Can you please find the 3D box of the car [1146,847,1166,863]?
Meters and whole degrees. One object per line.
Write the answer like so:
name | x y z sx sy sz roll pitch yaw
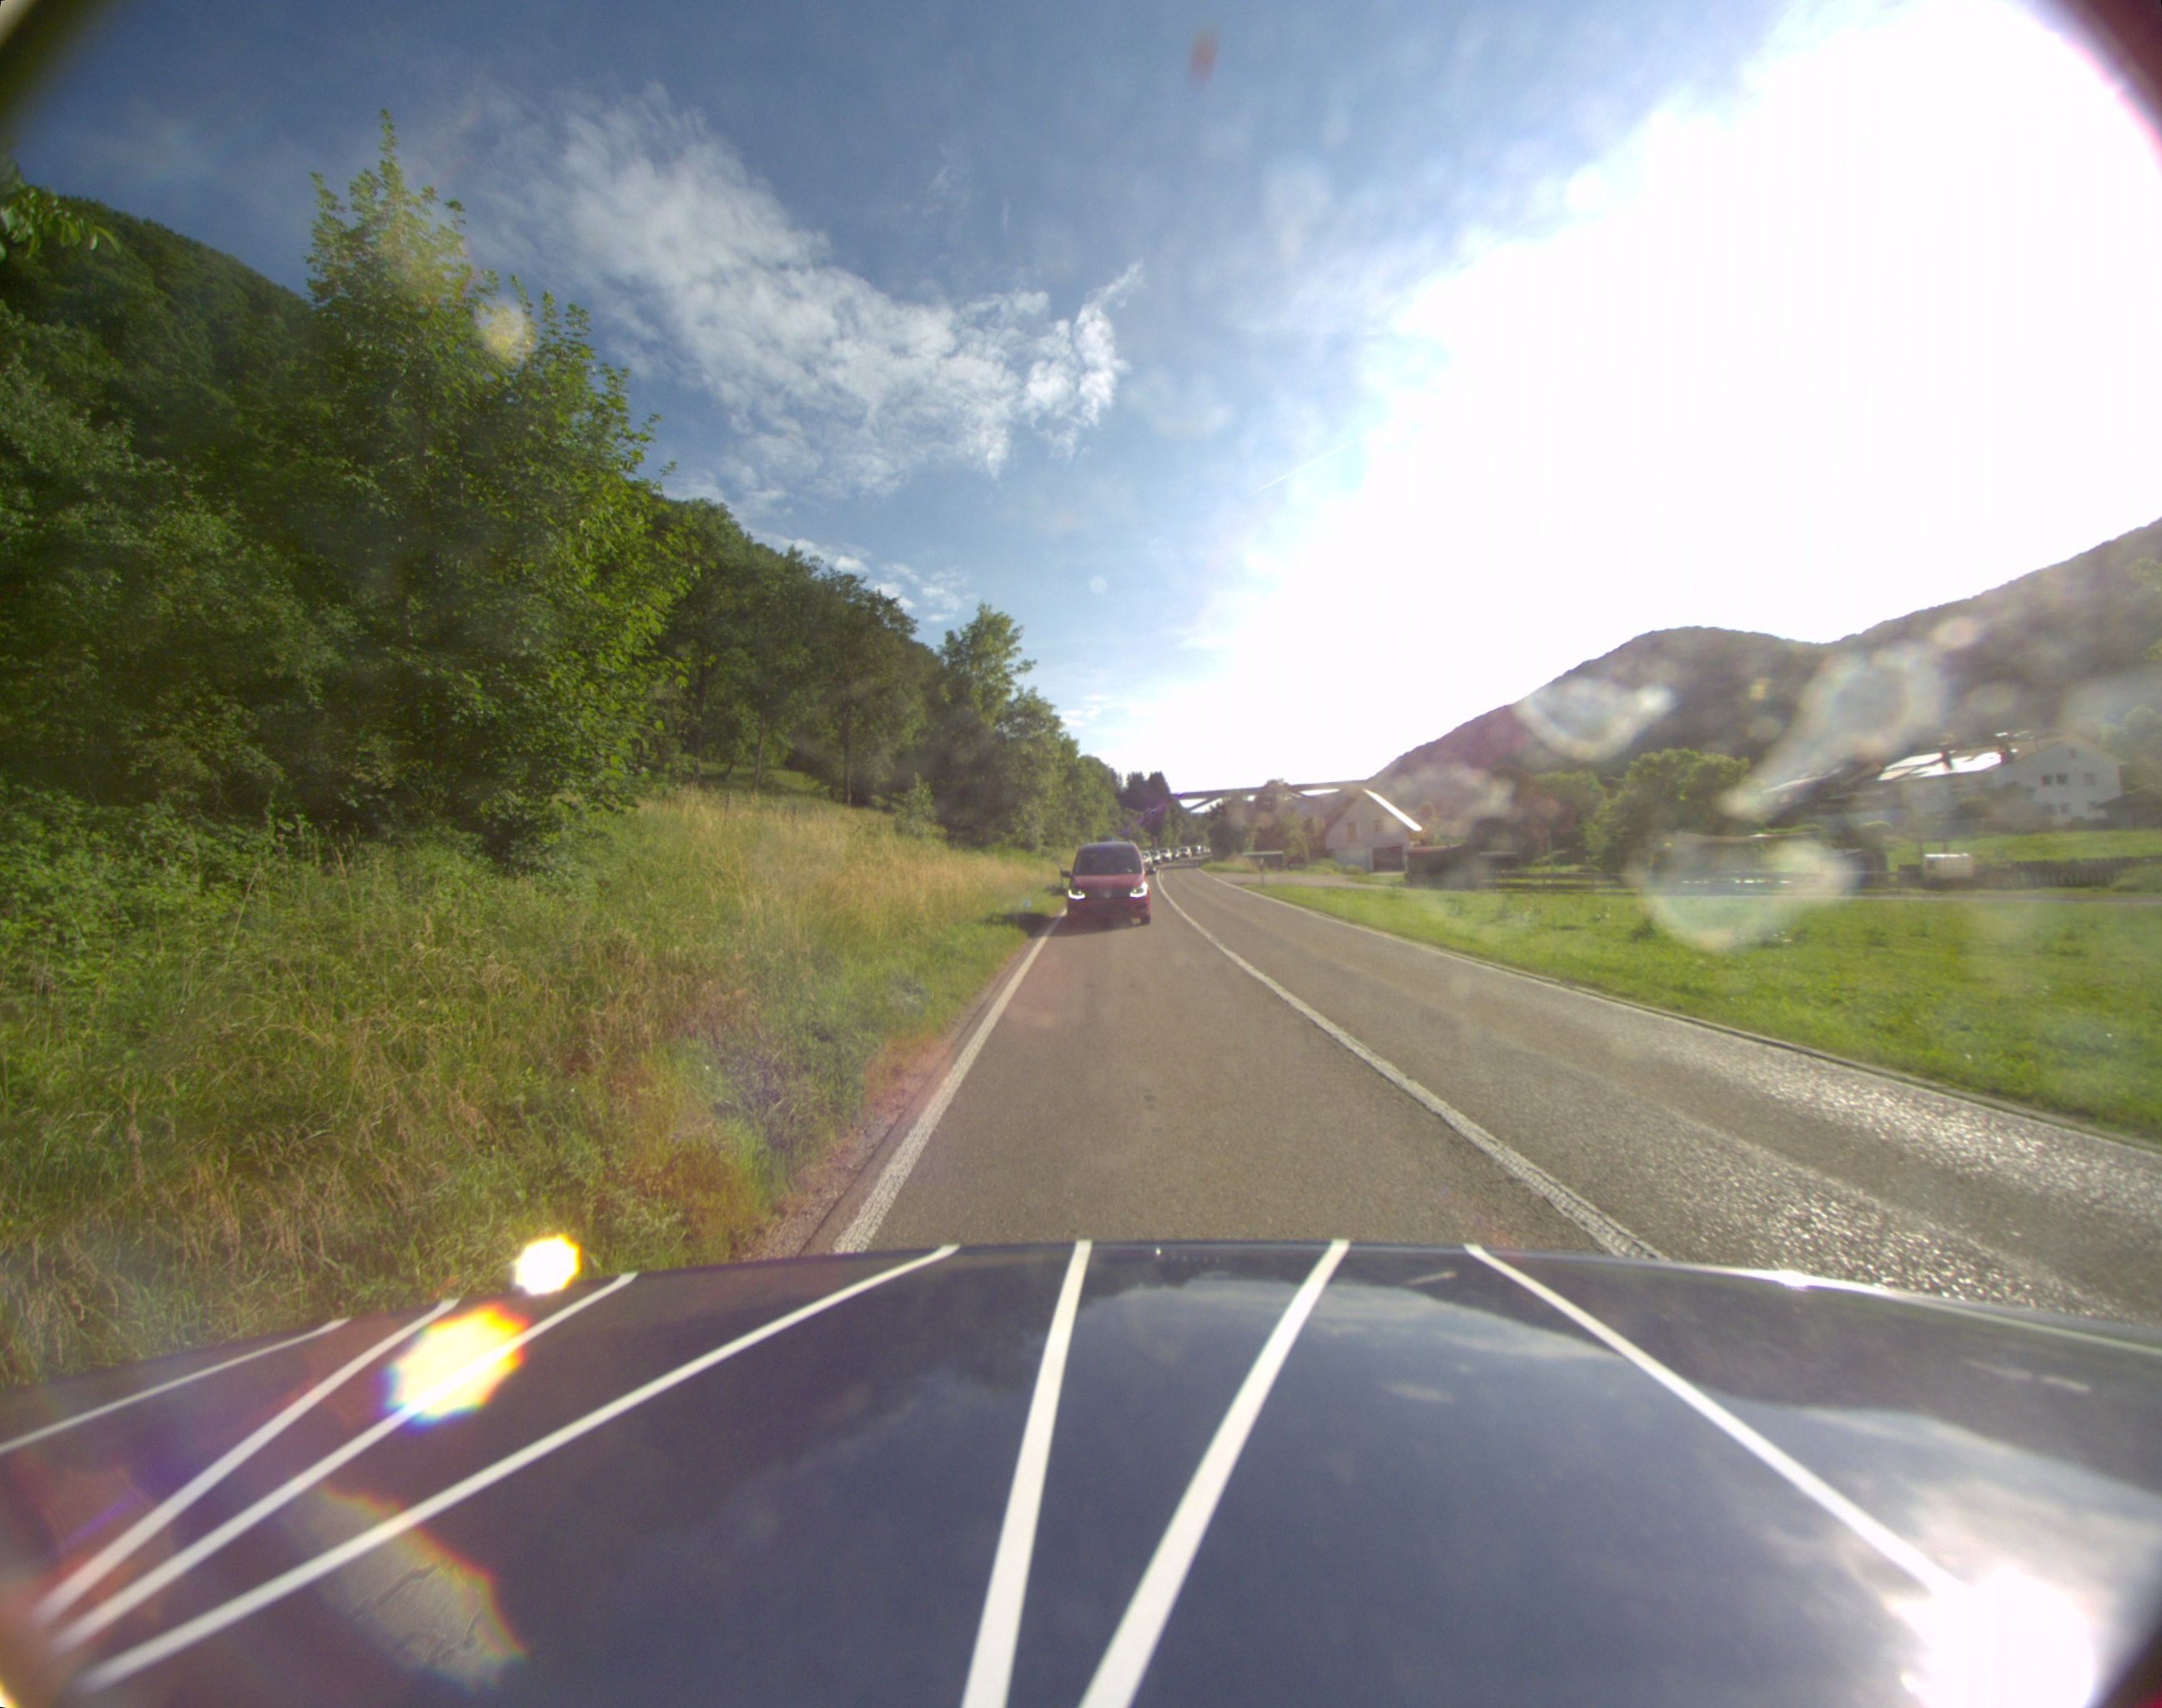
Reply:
car | 7.259 0.091 74.197 1.630 1.470 3.679 -2 1 1

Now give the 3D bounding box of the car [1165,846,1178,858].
car | 12.209 -0.318 102.556 1.629 1.470 3.681 -2 1 8

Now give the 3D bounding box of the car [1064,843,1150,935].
car | 0.559 0.671 17.006 1.649 1.762 3.999 -2 1 1

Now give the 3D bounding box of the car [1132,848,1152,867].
car | 5.194 0.281 64.831 1.629 1.470 3.680 -2 1 5

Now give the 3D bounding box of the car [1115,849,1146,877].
car | 2.904 0.477 44.092 1.629 1.470 3.680 -2 1 5

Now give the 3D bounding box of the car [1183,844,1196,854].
car | 16.831 -0.858 117.848 1.629 1.470 3.680 -2 1 4

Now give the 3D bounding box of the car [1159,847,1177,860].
car | 10.020 -0.079 87.472 1.630 1.470 3.679 -2 1 1
